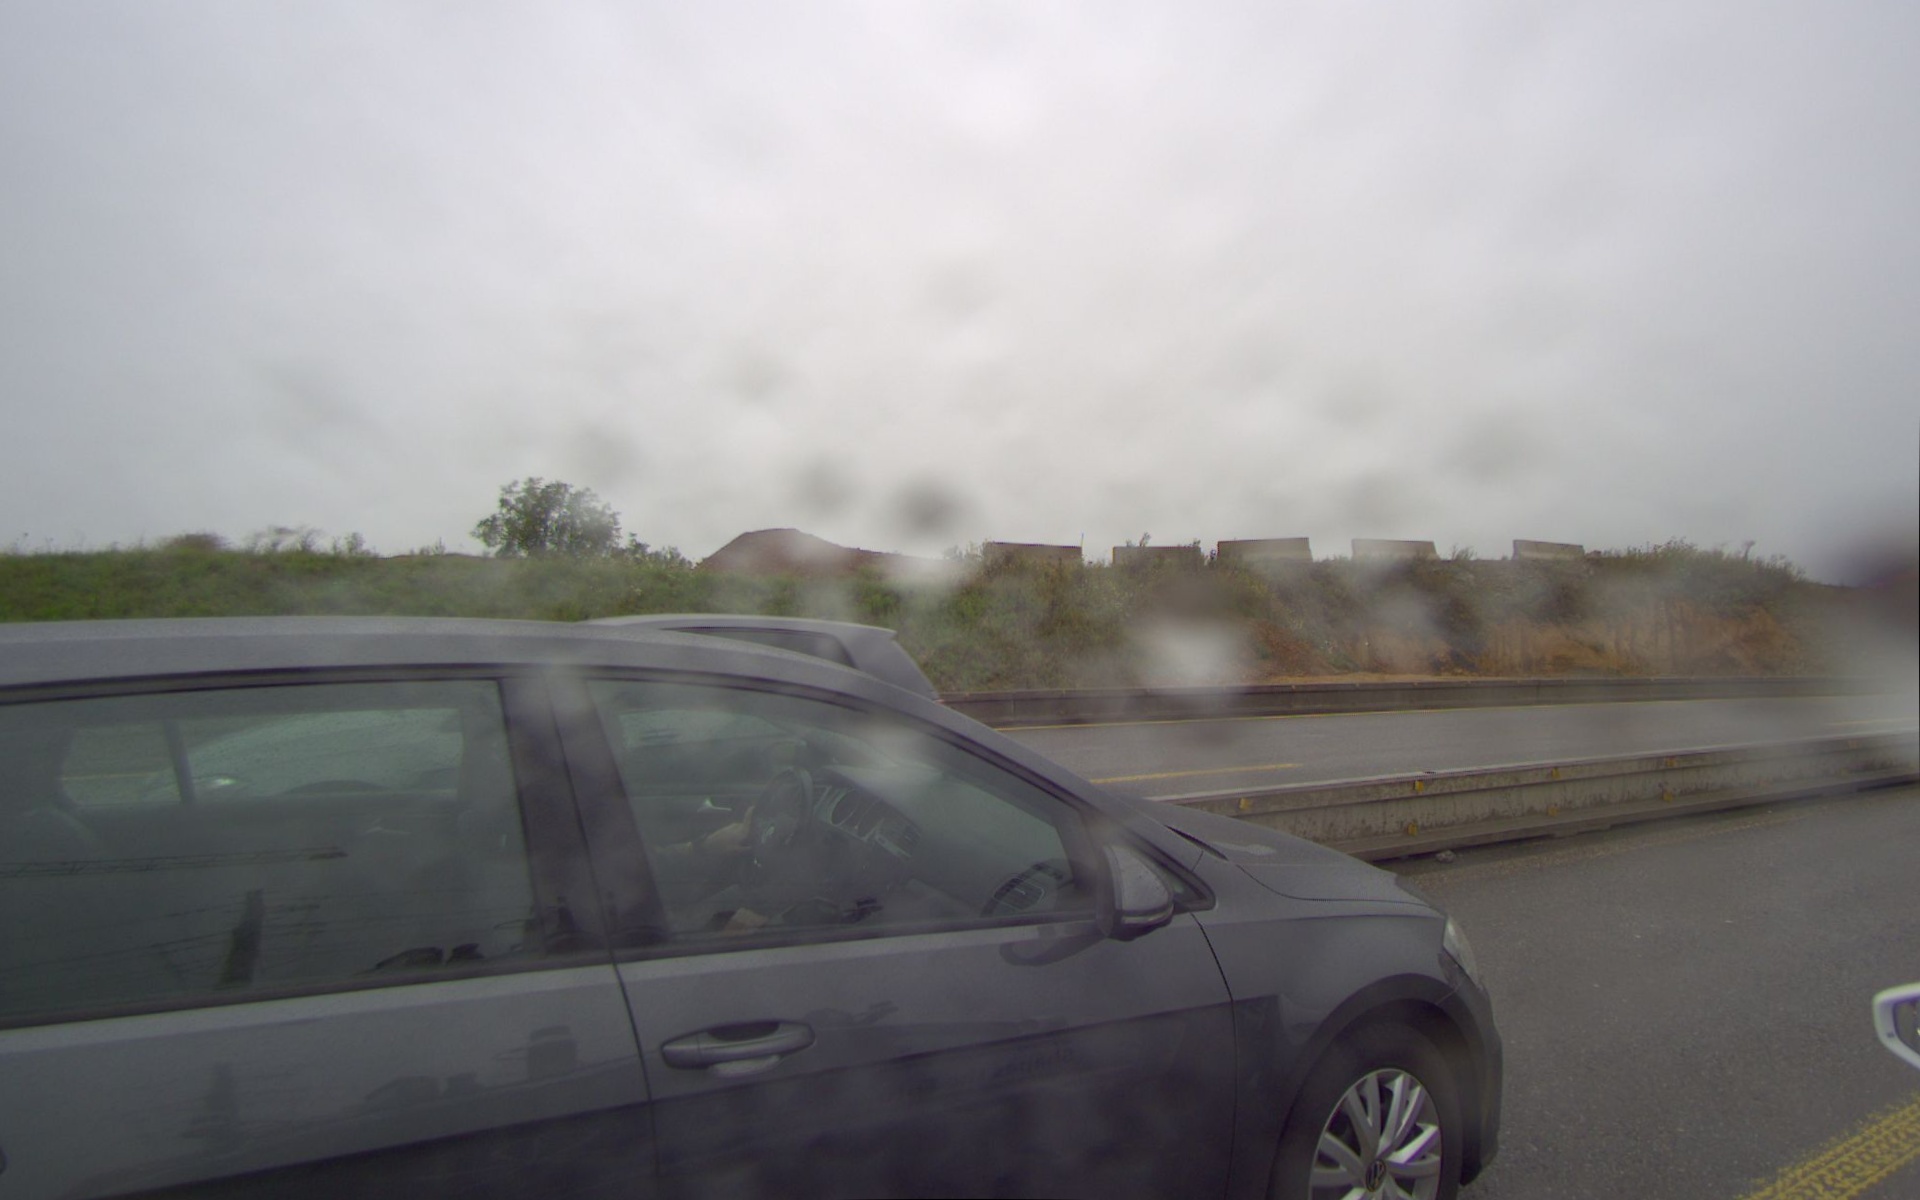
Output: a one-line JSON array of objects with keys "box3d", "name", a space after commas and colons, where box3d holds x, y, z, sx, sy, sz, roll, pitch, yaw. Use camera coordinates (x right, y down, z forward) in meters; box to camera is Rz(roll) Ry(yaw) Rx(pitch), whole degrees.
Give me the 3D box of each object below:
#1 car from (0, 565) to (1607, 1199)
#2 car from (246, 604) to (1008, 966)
[{"box3d": [-0.614, 0.787, 2.135, 4.318, 1.526, 1.606, 2, -3, -31], "name": "car"}, {"box3d": [-1.745, 0.800, 5.778, 3.665, 1.445, 1.779, 2, 0, -31], "name": "car"}]
